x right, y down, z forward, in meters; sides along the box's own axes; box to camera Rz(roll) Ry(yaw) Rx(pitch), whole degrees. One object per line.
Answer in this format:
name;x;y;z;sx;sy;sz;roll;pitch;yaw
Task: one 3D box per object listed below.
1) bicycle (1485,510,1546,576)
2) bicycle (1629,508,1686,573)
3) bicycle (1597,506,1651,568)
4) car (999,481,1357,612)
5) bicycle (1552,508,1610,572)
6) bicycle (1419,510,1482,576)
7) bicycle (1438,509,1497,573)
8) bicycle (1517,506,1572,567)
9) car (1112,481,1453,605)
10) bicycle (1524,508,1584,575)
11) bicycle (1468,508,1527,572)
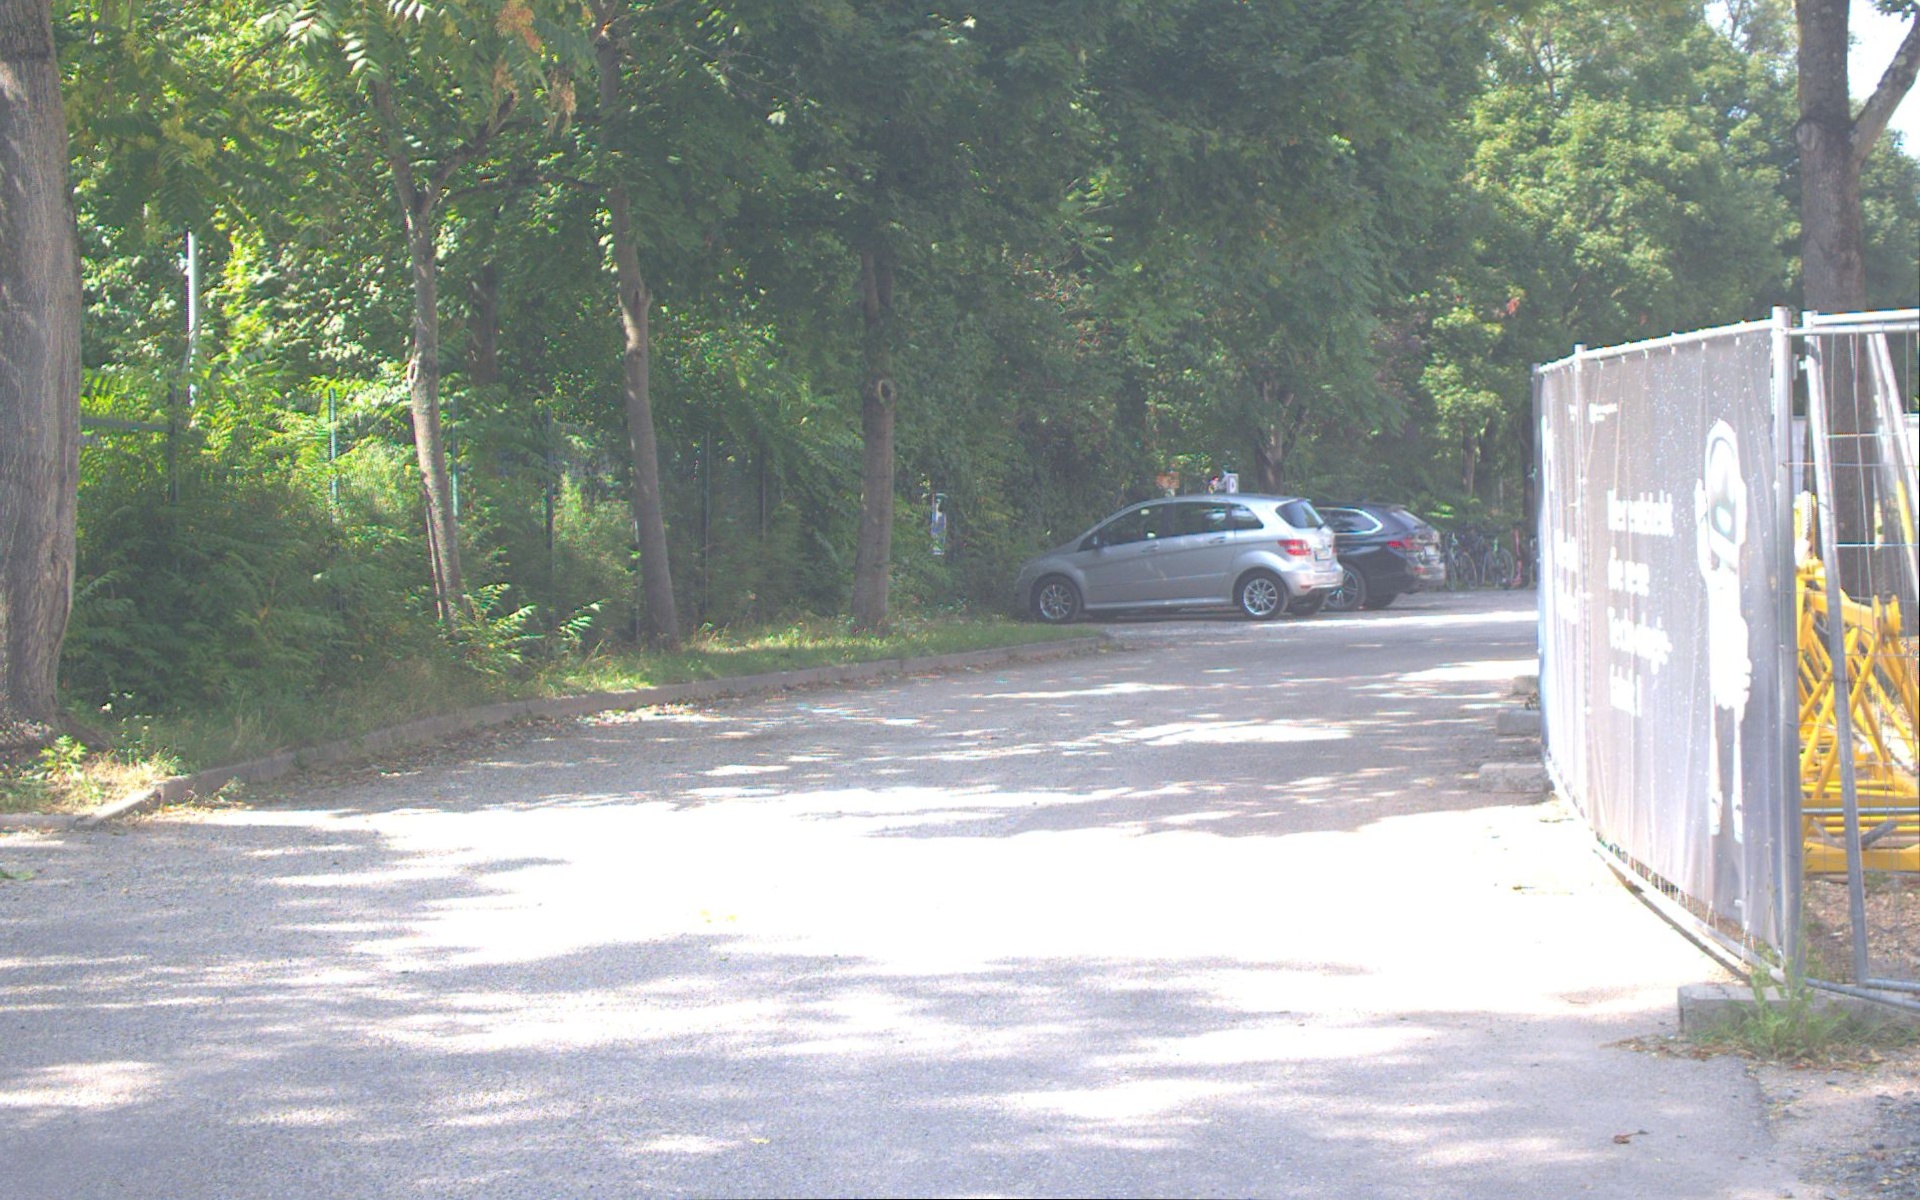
bicycle;9.565;-0.992;59.158;0.499;1.104;1.797;0;2;27
bicycle;12.169;-1.044;59.929;0.499;1.104;1.797;0;2;27
bicycle;12.306;-1.173;63.682;0.499;1.104;1.797;0;2;27
car;2.811;-0.710;44.168;4.152;1.607;1.998;0;2;24
bicycle;11.023;-1.064;60.986;0.499;1.104;1.797;0;2;27
bicycle;8.473;-0.998;59.321;0.499;1.104;1.797;0;2;27
bicycle;9.066;-1.058;61.368;0.499;1.104;1.797;0;2;27
bicycle;11.017;-1.203;64.721;0.499;1.104;1.797;0;2;27
car;4.354;-0.788;46.333;4.152;1.607;1.998;0;2;24
bicycle;10.117;-1.003;58.505;0.499;1.104;1.797;0;2;27
bicycle;9.570;-1.068;61.169;0.499;1.104;1.797;0;2;27
